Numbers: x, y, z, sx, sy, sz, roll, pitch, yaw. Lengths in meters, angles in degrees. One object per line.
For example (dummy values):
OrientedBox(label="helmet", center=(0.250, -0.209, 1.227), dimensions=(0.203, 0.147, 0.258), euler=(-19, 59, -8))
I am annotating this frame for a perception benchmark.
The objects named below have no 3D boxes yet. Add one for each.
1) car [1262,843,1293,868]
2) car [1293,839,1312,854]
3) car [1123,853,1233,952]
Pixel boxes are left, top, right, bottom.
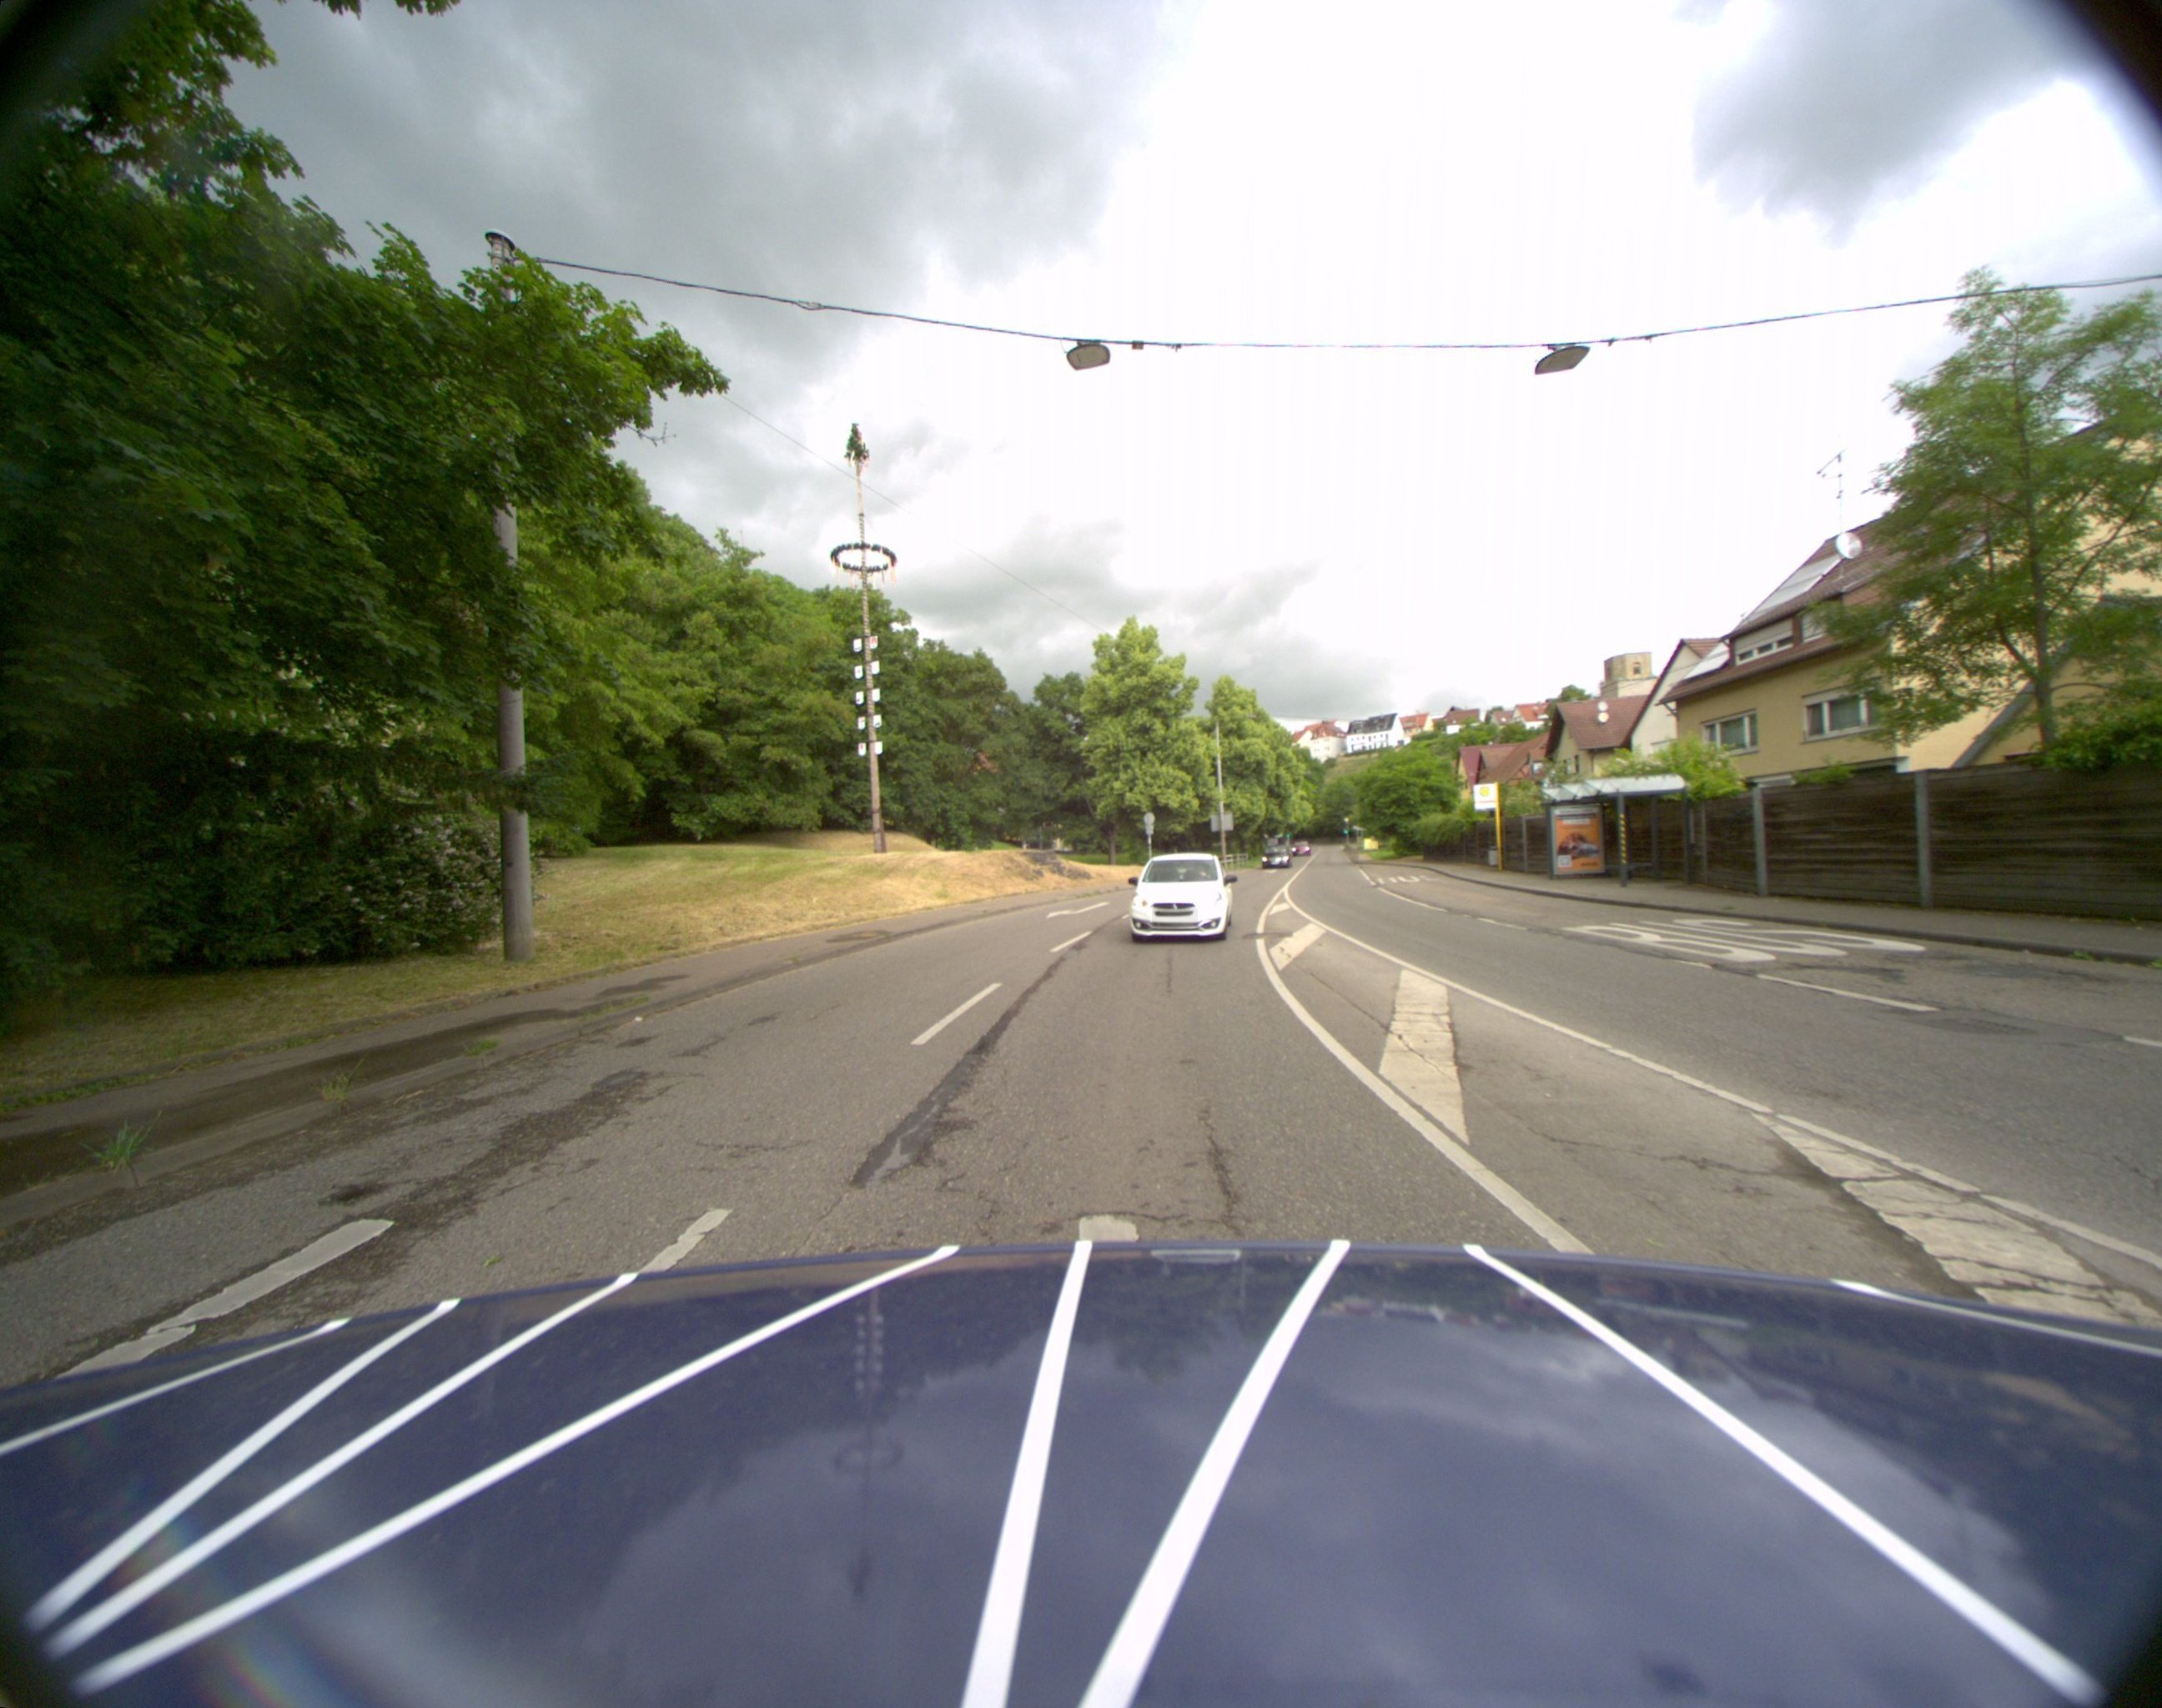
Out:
OrientedBox(label="car", center=(13.197, 0.072, 50.896), dimensions=(1.722, 1.539, 3.786), euler=(-2, 1, 17))
OrientedBox(label="car", center=(25.278, -0.883, 86.537), dimensions=(1.826, 1.662, 4.063), euler=(-2, 1, 19))
OrientedBox(label="car", center=(1.902, 0.787, 13.981), dimensions=(1.617, 1.505, 3.608), euler=(-2, 1, 13))
